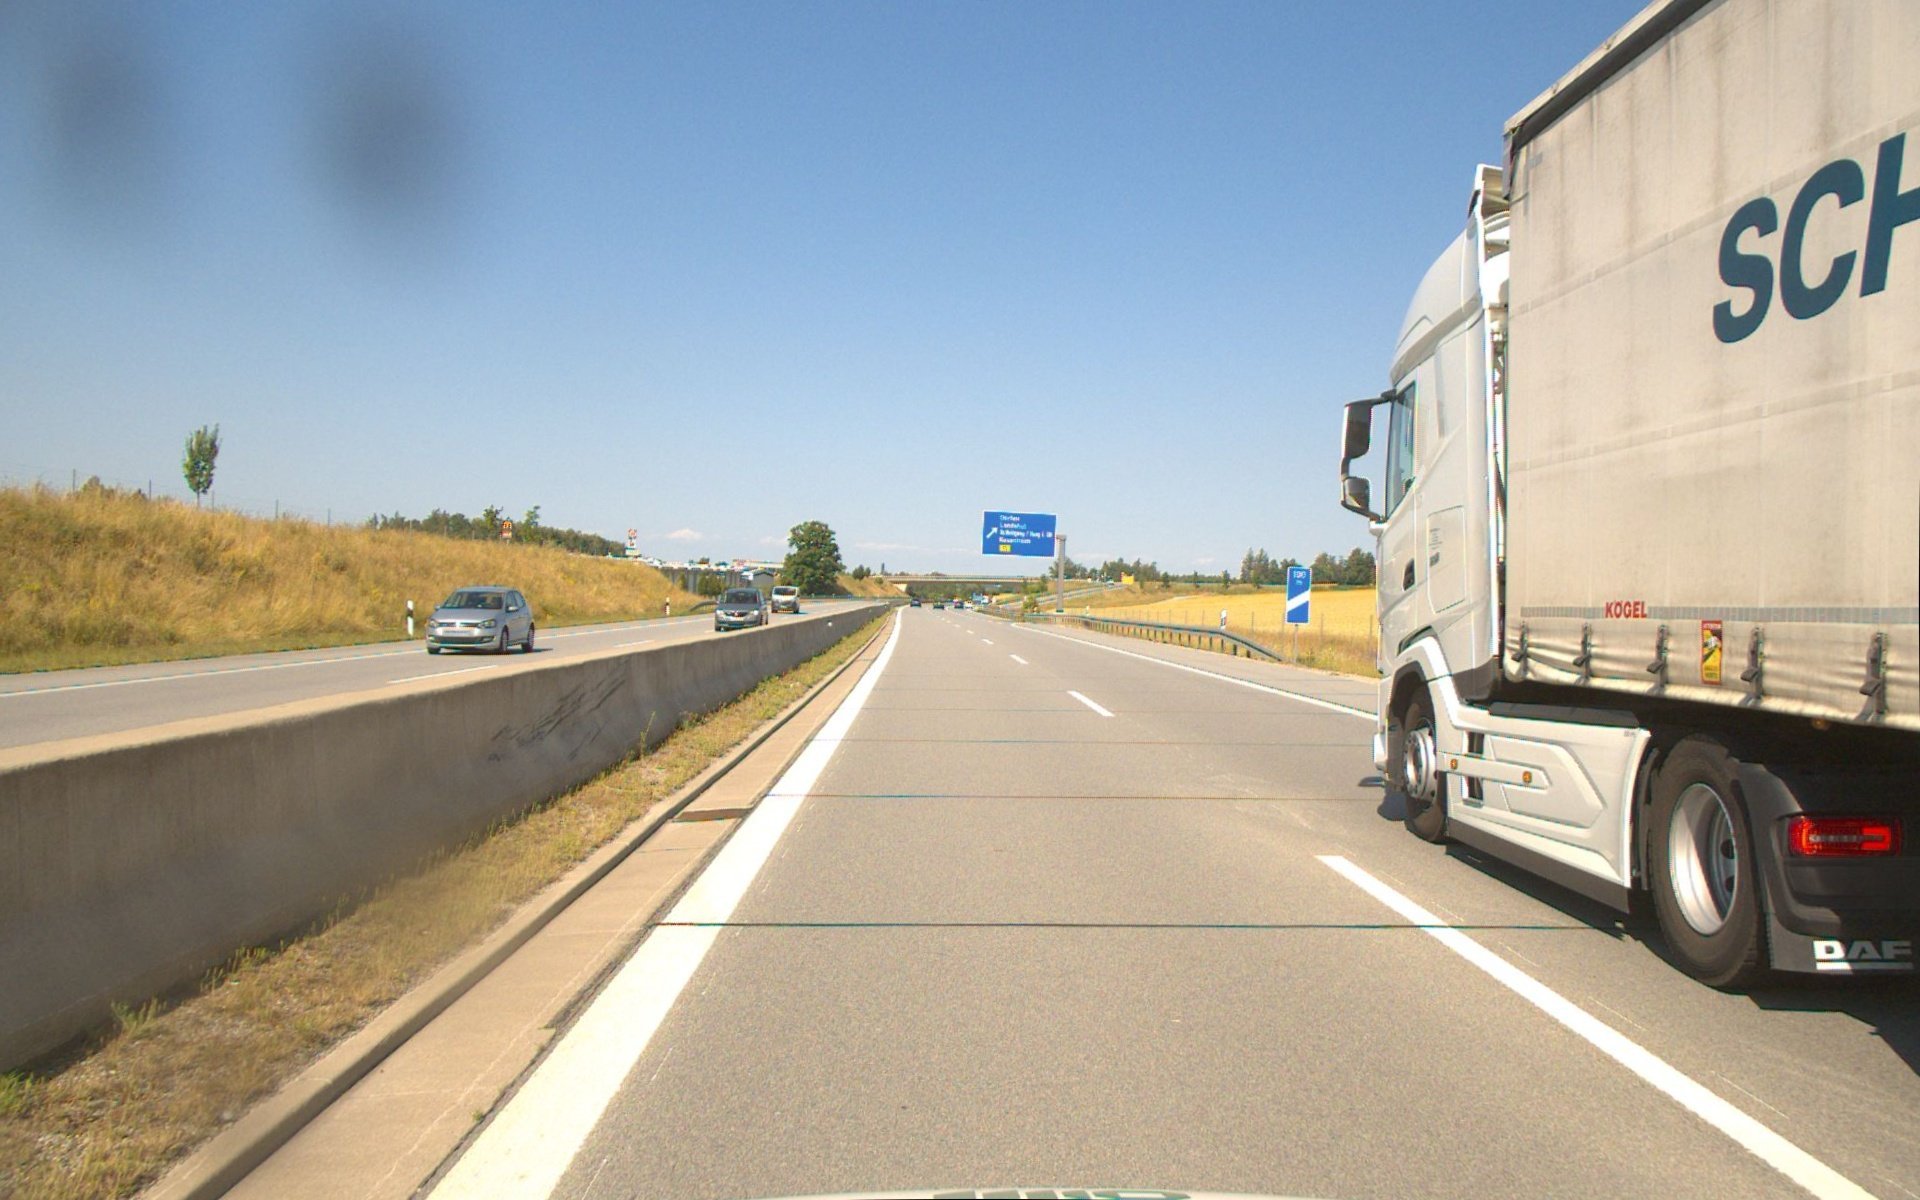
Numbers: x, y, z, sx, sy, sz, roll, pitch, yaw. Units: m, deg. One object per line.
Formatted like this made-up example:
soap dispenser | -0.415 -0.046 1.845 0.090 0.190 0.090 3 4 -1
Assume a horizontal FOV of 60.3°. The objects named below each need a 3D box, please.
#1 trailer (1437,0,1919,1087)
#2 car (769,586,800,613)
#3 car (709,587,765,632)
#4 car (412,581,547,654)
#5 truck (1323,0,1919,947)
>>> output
trailer | 4.523 -0.683 2.276 3.111 4.369 15.457 1 0 -1
car | -13.077 -0.034 123.596 2.190 1.968 5.789 1 0 -5
car | -8.478 0.342 63.108 1.842 1.603 4.561 1 0 -5
car | -10.707 0.367 37.205 1.841 1.528 4.563 -1 0 -2
truck | 4.413 -0.644 9.797 3.020 4.084 6.187 1 0 -1
